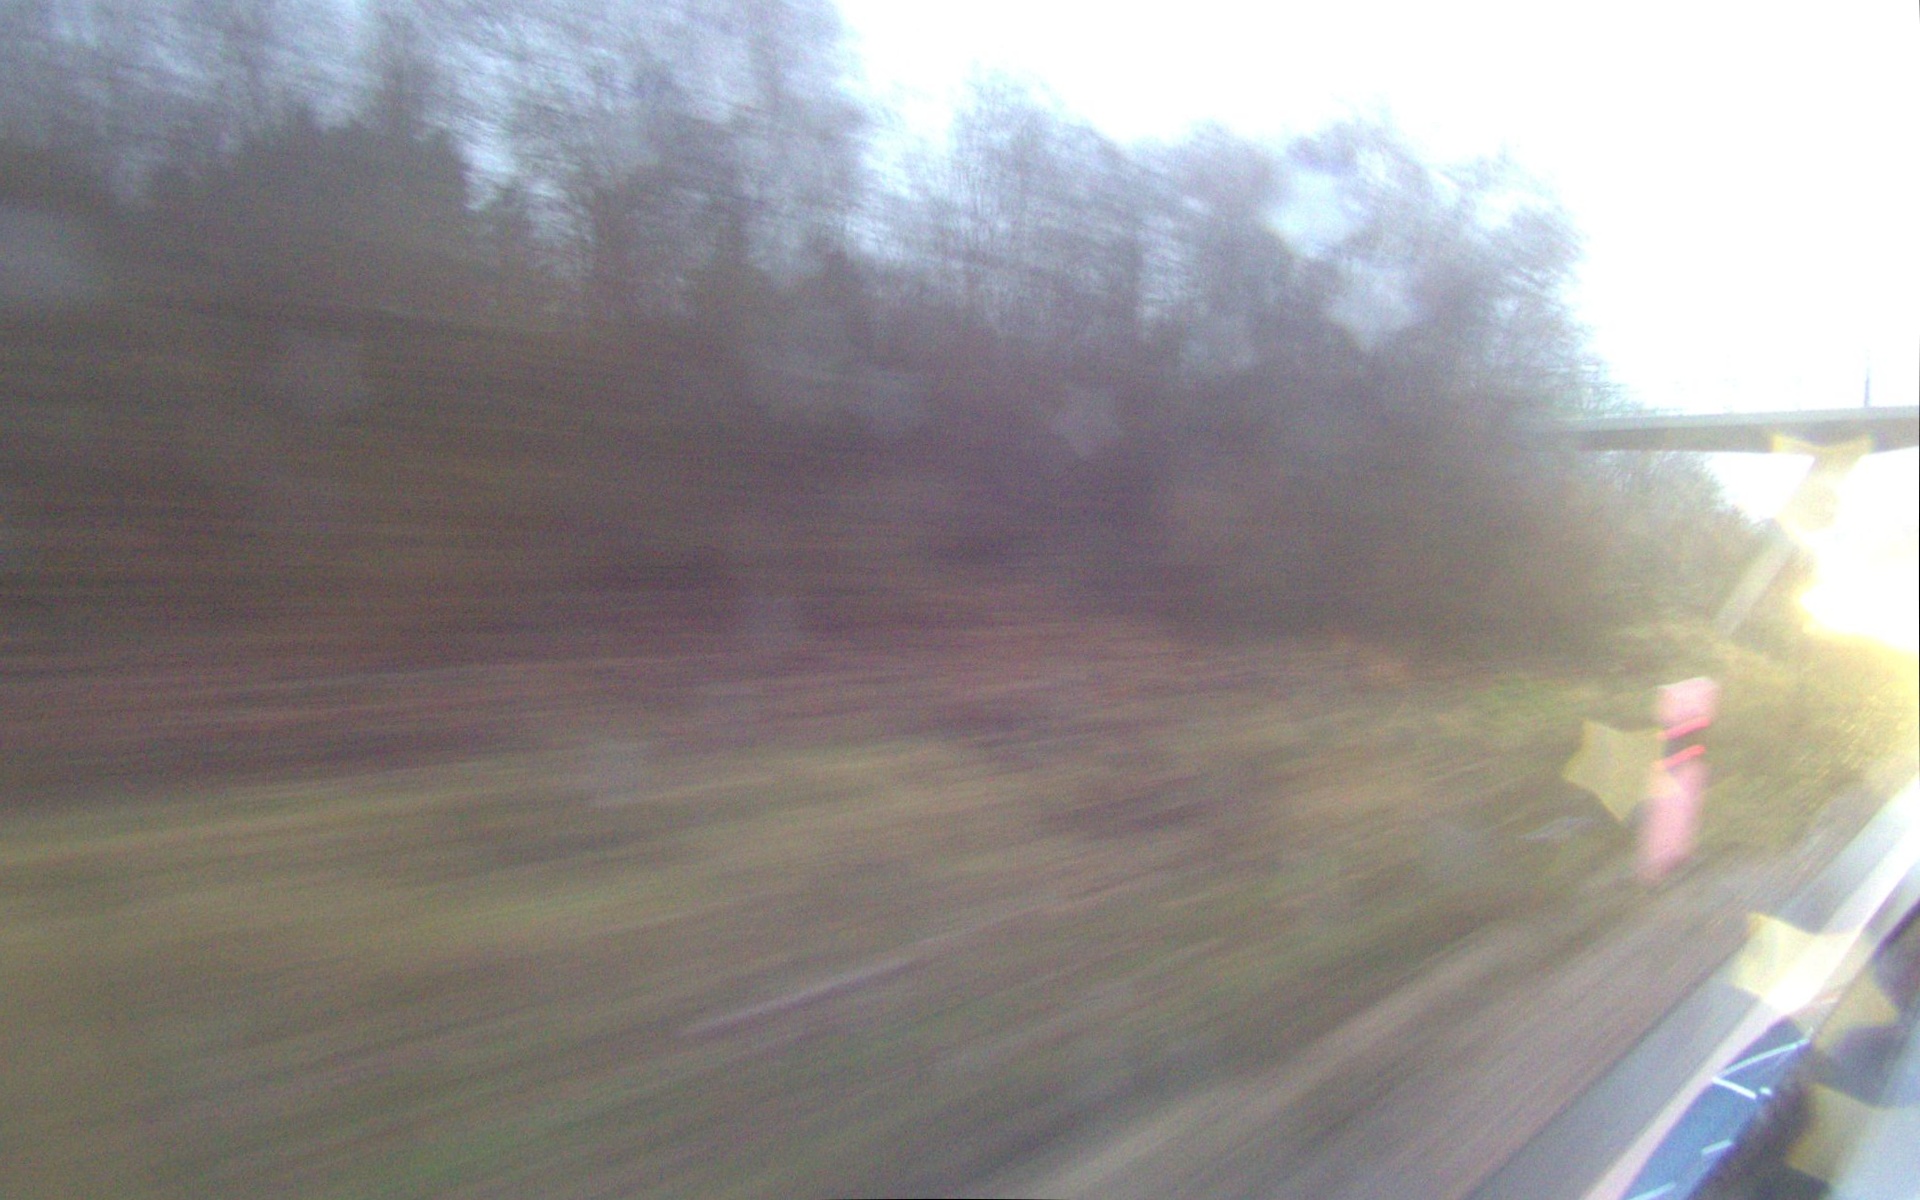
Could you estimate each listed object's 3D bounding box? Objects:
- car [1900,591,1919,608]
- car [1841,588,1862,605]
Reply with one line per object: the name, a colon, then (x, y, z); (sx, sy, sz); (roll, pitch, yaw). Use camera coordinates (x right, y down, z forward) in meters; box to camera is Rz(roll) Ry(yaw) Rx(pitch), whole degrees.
car: (97.289, -0.041, 103.048); (2.002, 1.575, 4.452); (1, 2, 40)
car: (98.606, -0.423, 111.898); (1.696, 1.752, 3.941); (1, 2, 42)
